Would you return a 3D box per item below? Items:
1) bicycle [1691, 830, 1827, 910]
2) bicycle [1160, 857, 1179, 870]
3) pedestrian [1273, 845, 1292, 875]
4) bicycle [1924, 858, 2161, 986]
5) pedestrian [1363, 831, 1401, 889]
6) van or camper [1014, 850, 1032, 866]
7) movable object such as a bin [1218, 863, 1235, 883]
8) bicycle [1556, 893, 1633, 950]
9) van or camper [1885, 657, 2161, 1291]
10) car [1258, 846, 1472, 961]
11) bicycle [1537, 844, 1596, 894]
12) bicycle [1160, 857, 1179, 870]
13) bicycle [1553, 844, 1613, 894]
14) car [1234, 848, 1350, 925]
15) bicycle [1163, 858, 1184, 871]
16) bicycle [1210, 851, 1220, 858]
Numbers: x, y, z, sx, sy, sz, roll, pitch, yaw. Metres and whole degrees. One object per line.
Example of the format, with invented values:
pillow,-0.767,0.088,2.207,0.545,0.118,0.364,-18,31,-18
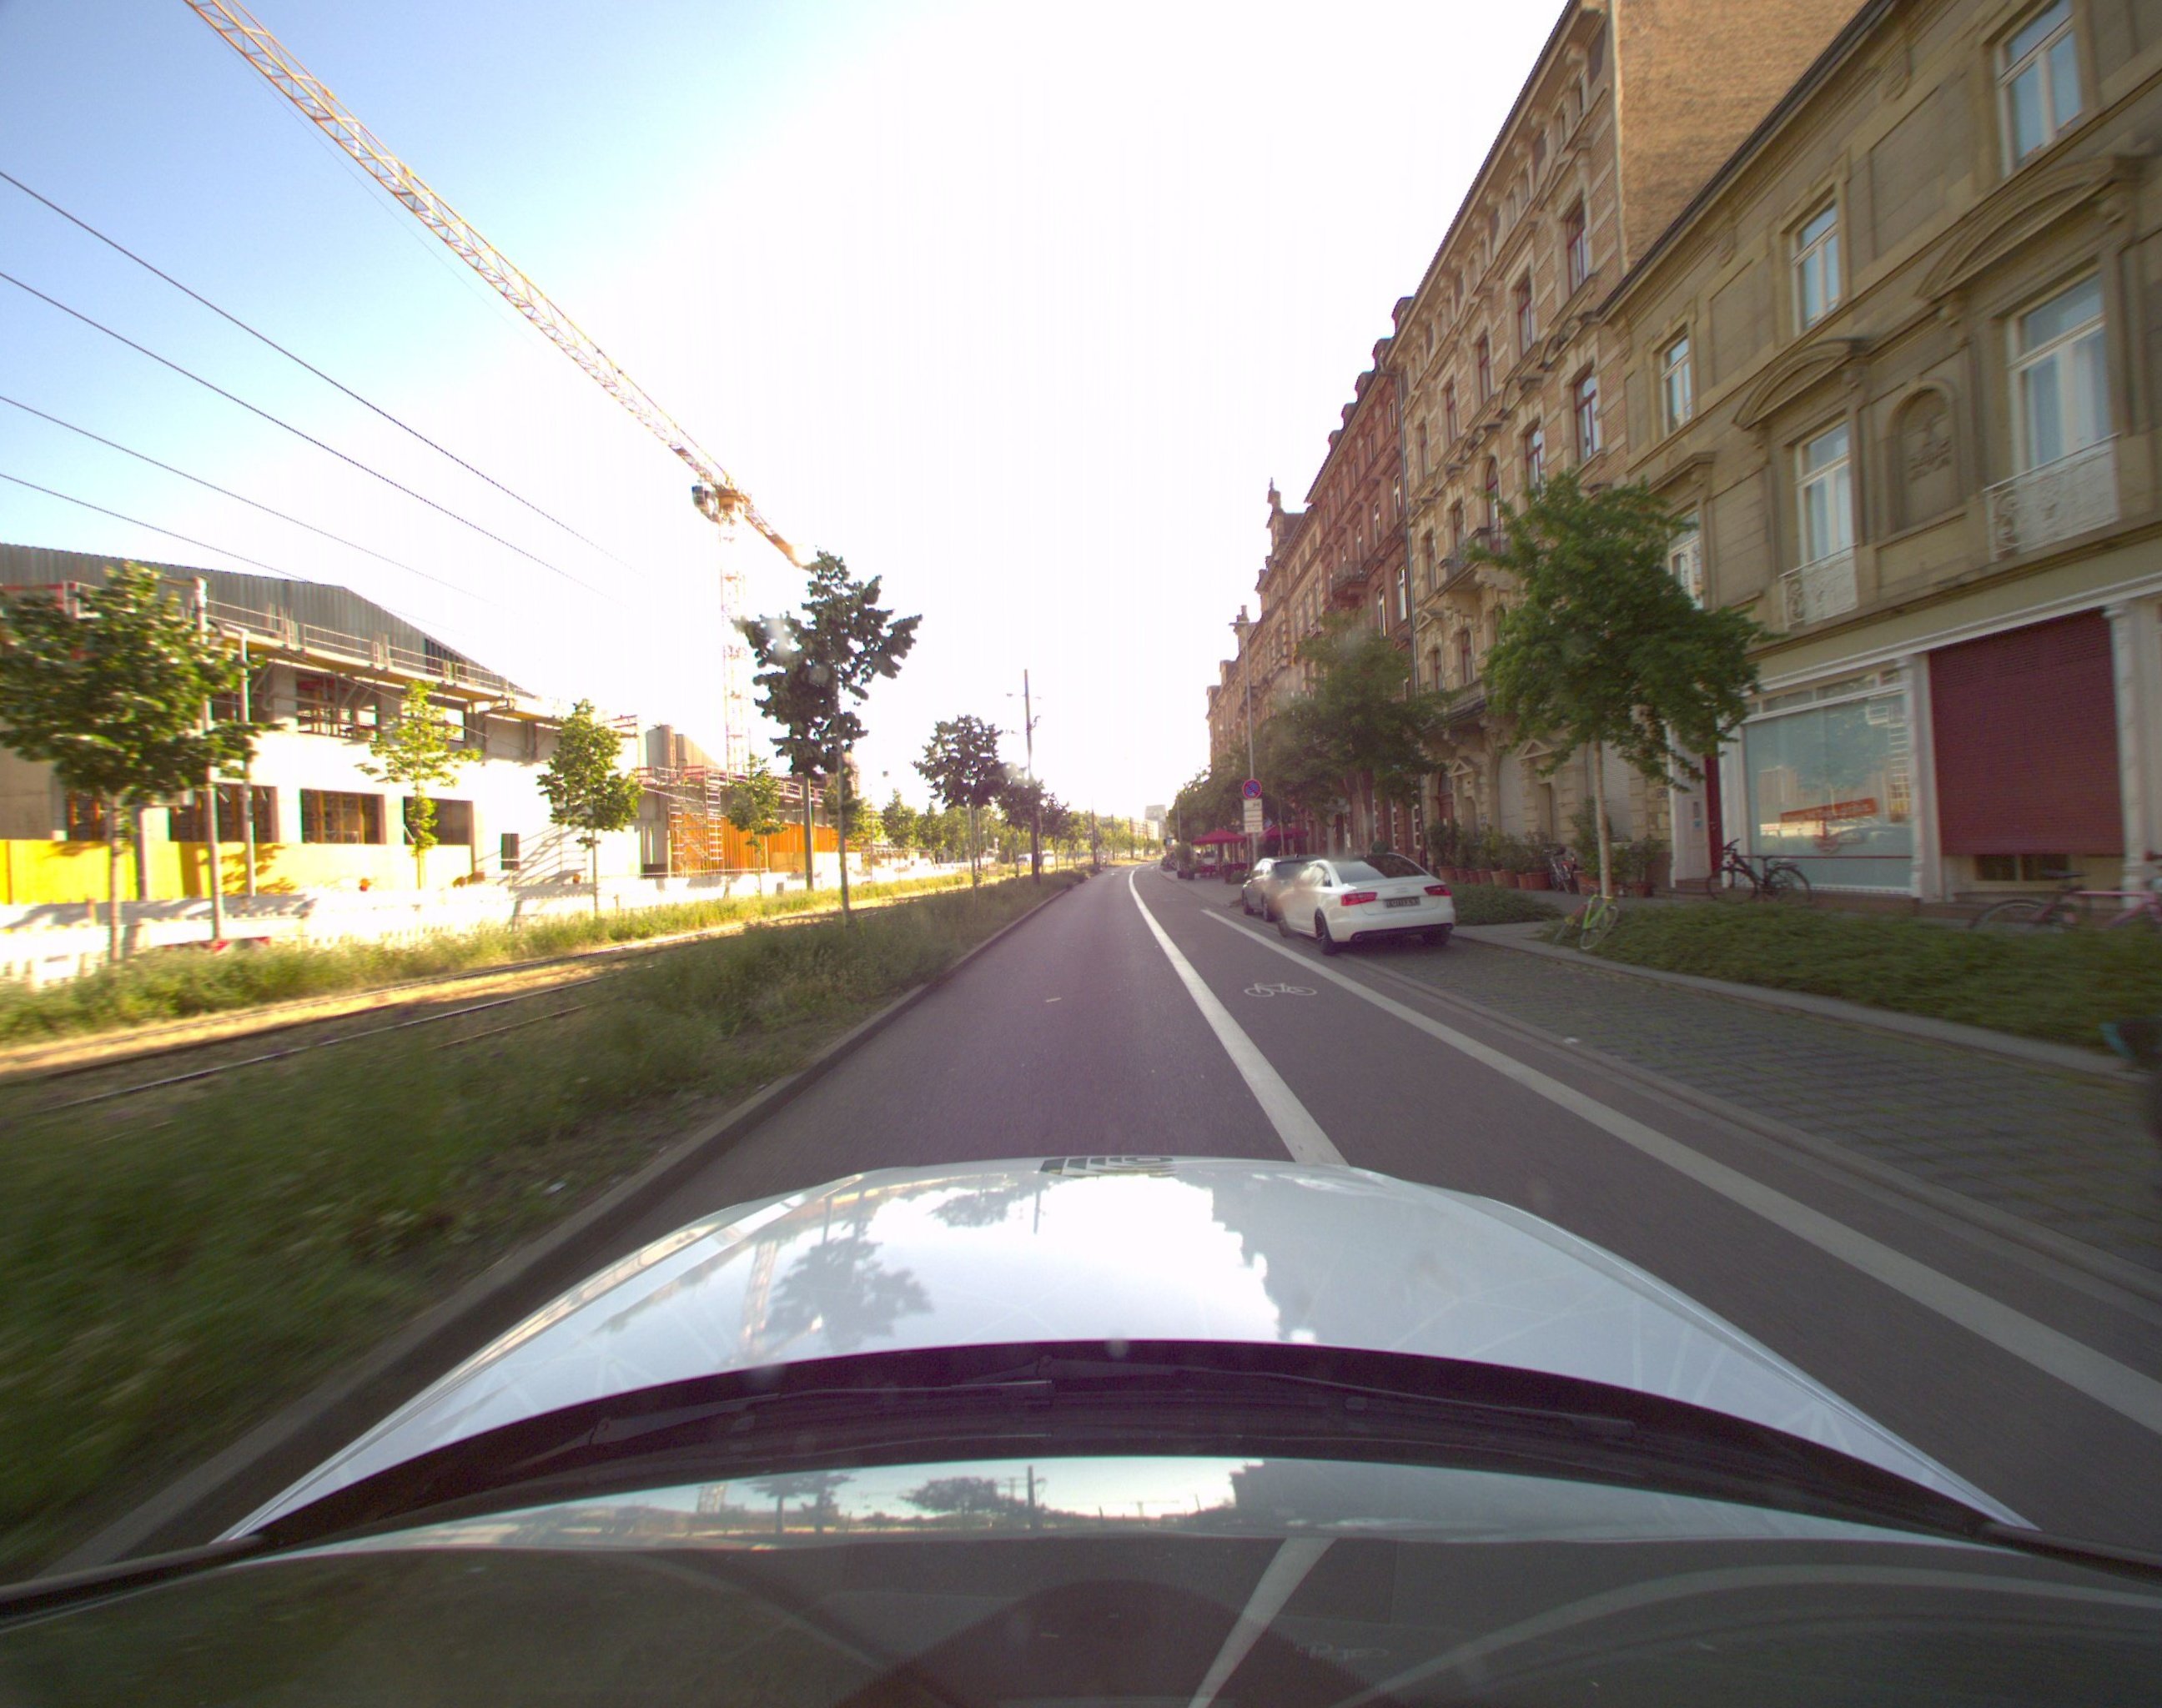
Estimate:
bicycle,11.107,0.252,13.432,0.716,1.195,1.772,-2,0,-1
bicycle,8.434,0.896,77.553,1.744,1.104,0.508,-5,-1,8
pedestrian,10.559,0.315,42.769,0.725,1.534,0.797,-4,-1,2
bicycle,8.222,0.500,6.789,0.652,0.916,1.683,-2,0,2
pedestrian,9.464,0.193,25.641,0.744,1.754,1.073,-4,-1,3
van or camper,-10.402,0.722,146.294,2.213,2.510,7.206,-5,0,3
movable object such as a bin,7.242,0.948,40.521,0.669,0.924,0.563,-6,-2,22
bicycle,6.546,0.844,10.420,0.353,0.647,1.002,-2,-1,2
van or camper,4.192,0.316,0.549,1.953,1.972,5.491,-4,0,3
car,4.512,0.692,13.941,1.842,1.454,5.254,-4,0,1
bicycle,11.009,0.329,18.507,0.383,1.080,1.677,-2,0,3
bicycle,8.486,0.905,78.109,1.744,1.104,0.508,-5,-1,8
bicycle,11.397,0.327,18.550,0.383,1.080,1.677,-2,0,3
car,5.042,0.719,20.053,1.841,1.564,4.300,-4,0,3
bicycle,8.140,0.912,71.666,1.795,1.047,0.567,-5,-1,8
bicycle,25.745,0.102,156.562,1.891,1.093,0.393,-4,-1,4
